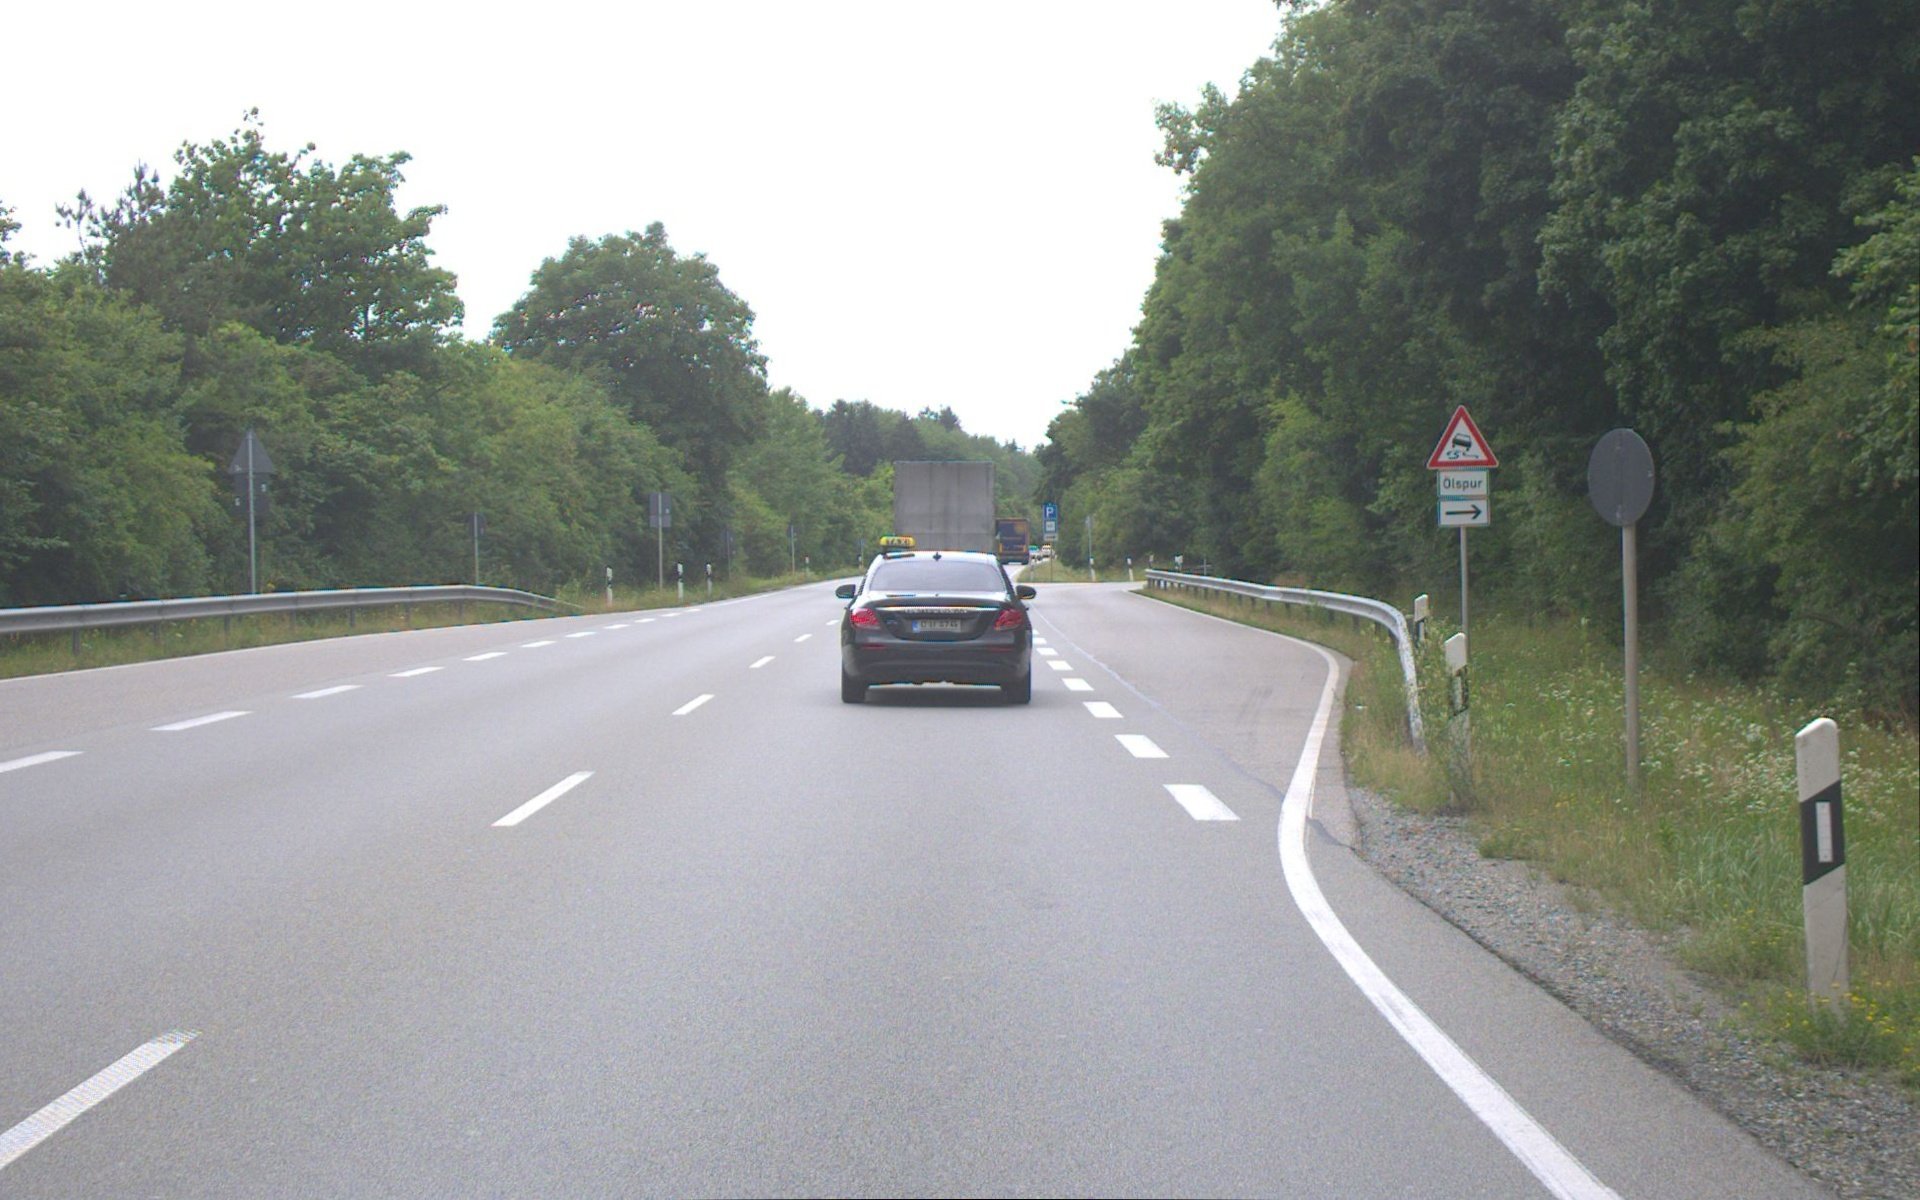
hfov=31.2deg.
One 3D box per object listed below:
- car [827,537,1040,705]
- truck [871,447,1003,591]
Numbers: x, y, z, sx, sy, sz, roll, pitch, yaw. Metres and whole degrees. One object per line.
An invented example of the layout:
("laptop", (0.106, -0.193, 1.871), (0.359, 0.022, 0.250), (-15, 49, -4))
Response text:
("car", (-0.322, 0.165, 33.955), (1.791, 1.546, 4.001), (0, 1, -5))
("truck", (-0.653, -2.122, 92.057), (3.281, 3.599, 11.400), (1, 1, -1))
